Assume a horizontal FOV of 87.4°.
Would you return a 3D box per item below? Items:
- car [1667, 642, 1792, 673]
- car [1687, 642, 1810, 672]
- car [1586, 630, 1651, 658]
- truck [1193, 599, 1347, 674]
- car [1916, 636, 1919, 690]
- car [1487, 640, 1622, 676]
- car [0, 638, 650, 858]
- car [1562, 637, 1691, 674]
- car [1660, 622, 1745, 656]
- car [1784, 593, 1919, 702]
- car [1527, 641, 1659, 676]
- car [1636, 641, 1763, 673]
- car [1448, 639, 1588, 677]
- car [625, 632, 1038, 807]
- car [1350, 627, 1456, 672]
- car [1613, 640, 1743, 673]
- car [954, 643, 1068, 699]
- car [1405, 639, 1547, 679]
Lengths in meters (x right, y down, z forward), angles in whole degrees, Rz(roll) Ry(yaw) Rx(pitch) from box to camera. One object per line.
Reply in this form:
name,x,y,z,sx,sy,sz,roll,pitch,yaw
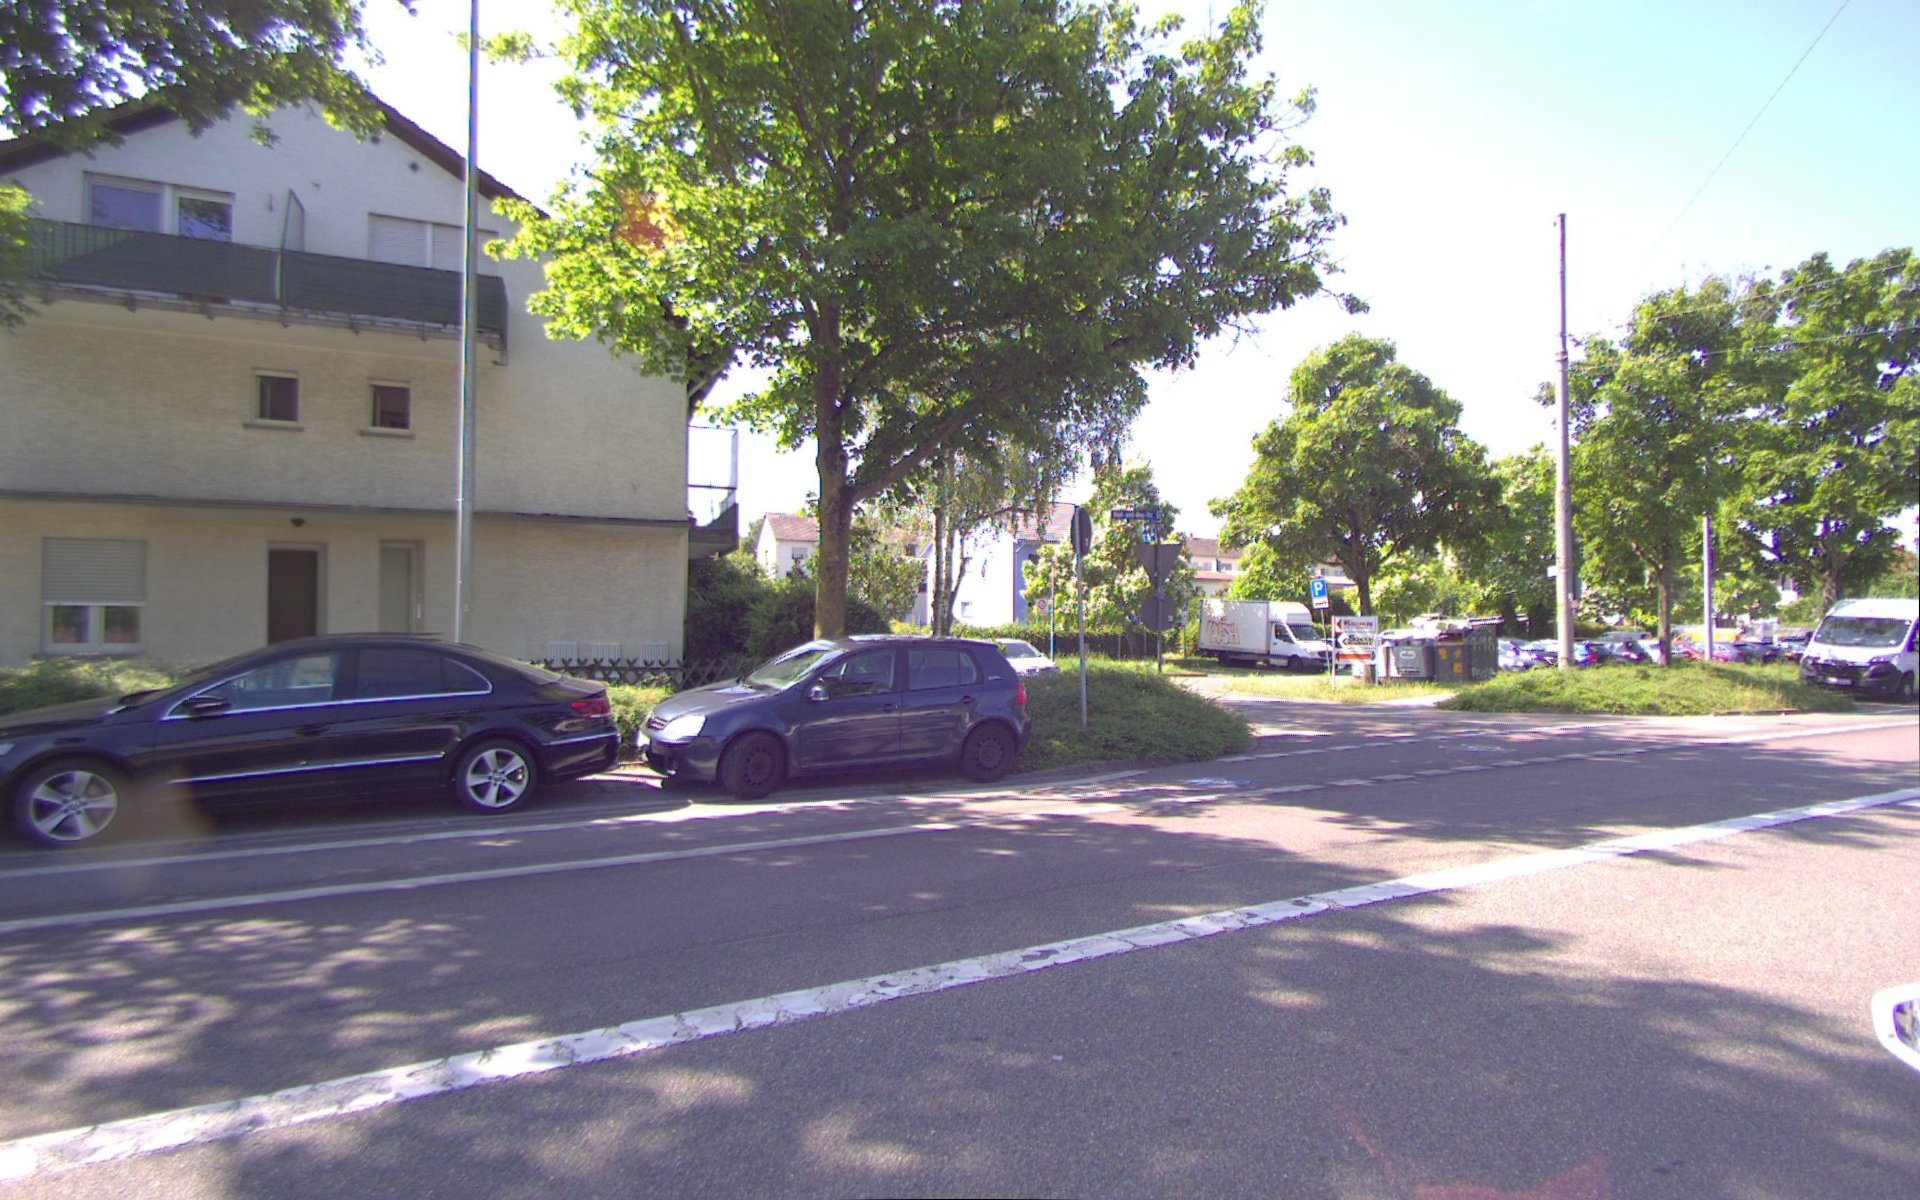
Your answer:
car,33.340,2.450,43.617,1.748,1.241,3.973,1,-2,-27
car,35.218,2.518,44.962,1.748,1.241,3.973,1,-2,-27
car,44.899,2.985,68.526,1.535,1.901,3.406,1,-2,-31
truck,14.247,1.596,46.774,2.206,3.059,7.103,1,1,-31
car,29.308,1.790,28.693,4.148,1.536,1.835,1,-2,-30
car,21.774,2.101,36.948,1.748,1.241,3.973,1,-2,-27
car,-5.176,1.042,8.329,4.727,1.398,1.682,1,0,-31
car,26.615,2.191,40.254,1.748,1.368,3.973,1,-2,-27
car,50.620,2.643,68.568,1.981,2.040,4.228,2,0,-35
car,24.031,1.158,25.880,6.227,2.534,2.050,1,1,-28
car,24.379,2.213,38.823,1.748,1.241,3.973,1,-2,-27
car,31.108,2.358,42.356,1.748,1.241,3.973,1,-2,-27
car,19.516,1.997,35.280,1.751,1.241,3.967,1,-2,-31
car,-1.290,1.113,10.491,3.956,1.470,1.634,2,0,-29
car,22.828,2.503,51.940,1.980,2.040,4.663,2,0,-34
car,29.056,2.256,40.770,1.748,1.281,3.973,1,-2,-27
car,1.364,1.947,28.457,1.687,1.437,3.979,1,-2,-23
car,17.398,1.944,34.047,1.751,1.241,3.967,1,-2,-31
